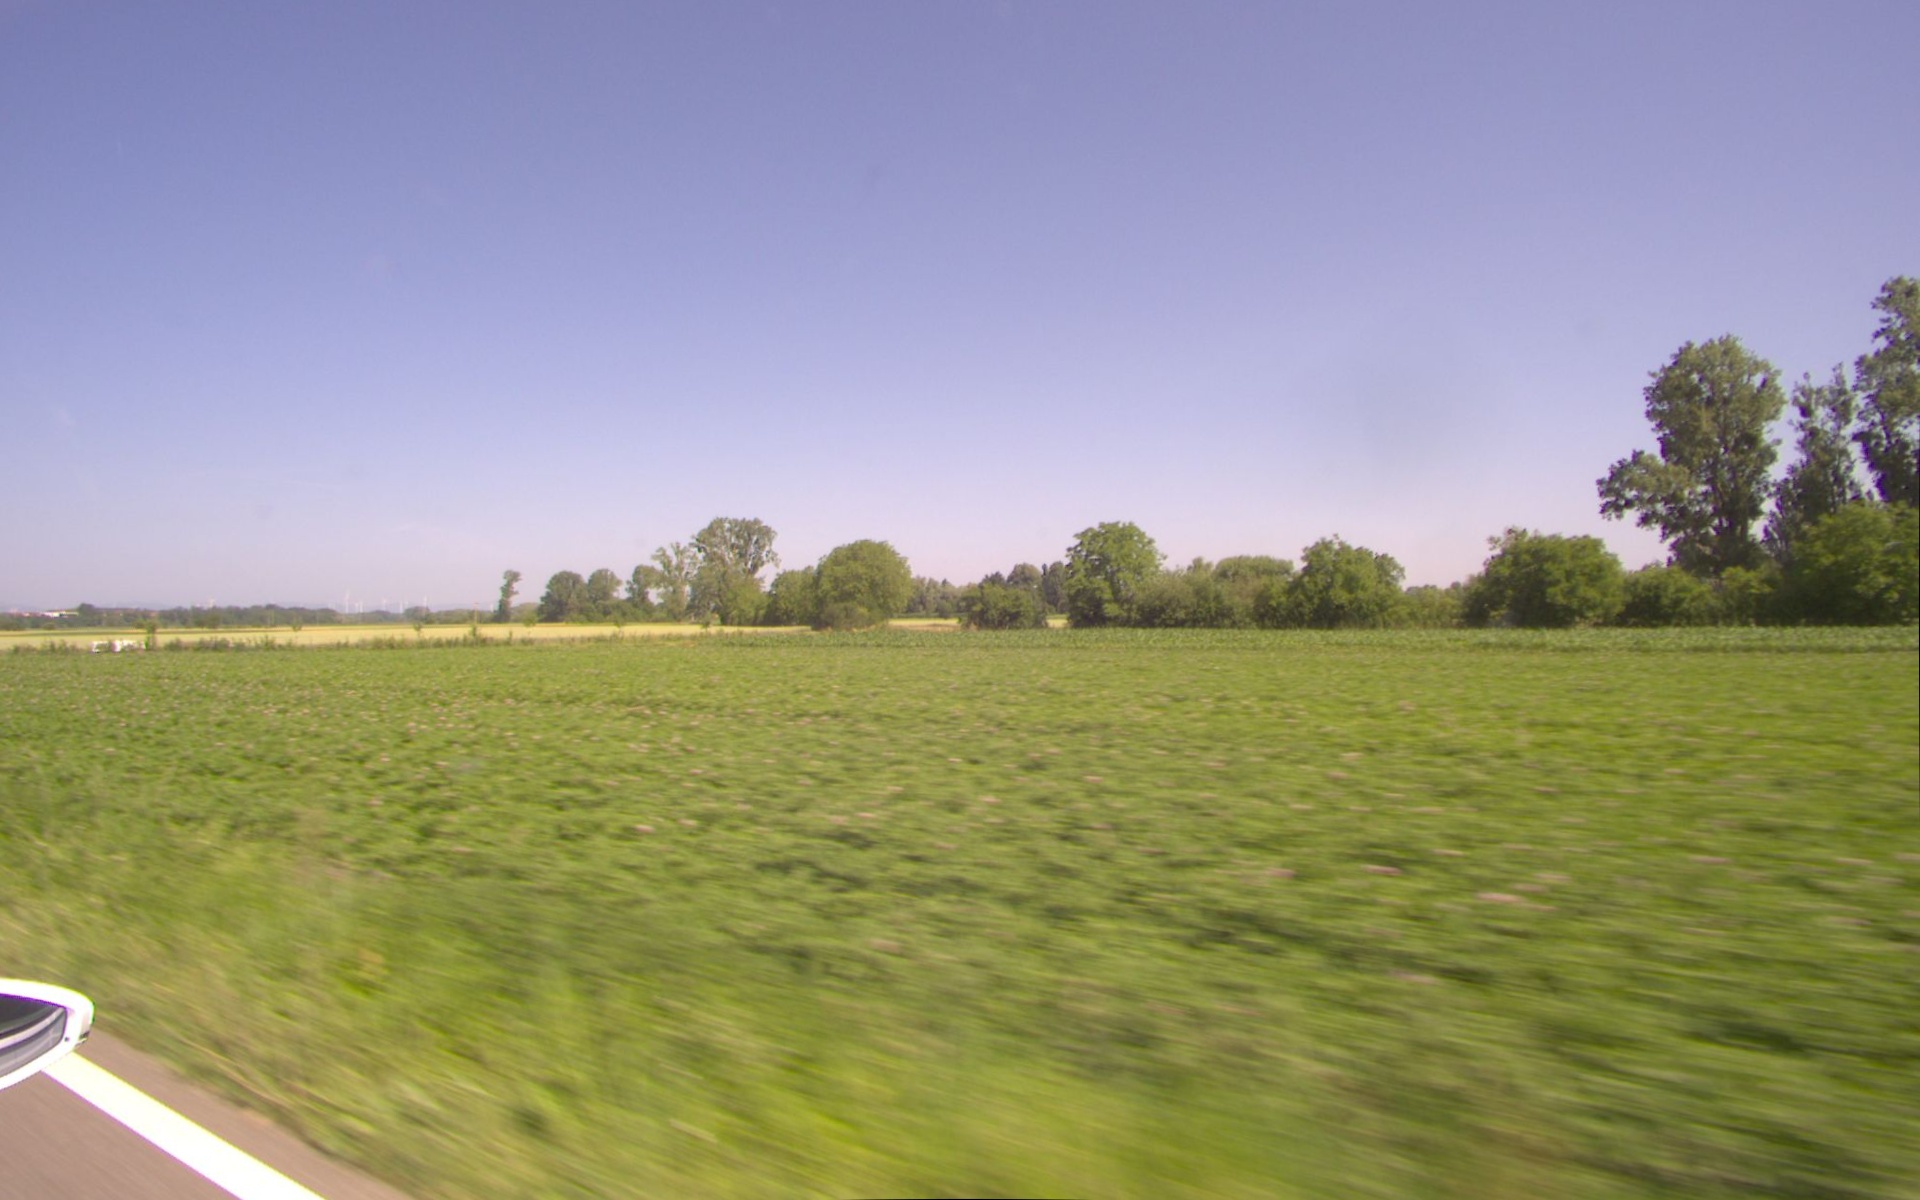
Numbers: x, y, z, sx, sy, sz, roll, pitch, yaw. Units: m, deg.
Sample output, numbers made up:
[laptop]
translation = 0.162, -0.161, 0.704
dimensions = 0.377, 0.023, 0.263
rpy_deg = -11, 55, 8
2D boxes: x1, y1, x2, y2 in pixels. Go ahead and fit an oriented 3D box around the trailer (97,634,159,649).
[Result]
[trailer]
translation = -65.069, 3.261, 78.375
dimensions = 1.646, 1.204, 3.566
rpy_deg = -2, -3, 44
